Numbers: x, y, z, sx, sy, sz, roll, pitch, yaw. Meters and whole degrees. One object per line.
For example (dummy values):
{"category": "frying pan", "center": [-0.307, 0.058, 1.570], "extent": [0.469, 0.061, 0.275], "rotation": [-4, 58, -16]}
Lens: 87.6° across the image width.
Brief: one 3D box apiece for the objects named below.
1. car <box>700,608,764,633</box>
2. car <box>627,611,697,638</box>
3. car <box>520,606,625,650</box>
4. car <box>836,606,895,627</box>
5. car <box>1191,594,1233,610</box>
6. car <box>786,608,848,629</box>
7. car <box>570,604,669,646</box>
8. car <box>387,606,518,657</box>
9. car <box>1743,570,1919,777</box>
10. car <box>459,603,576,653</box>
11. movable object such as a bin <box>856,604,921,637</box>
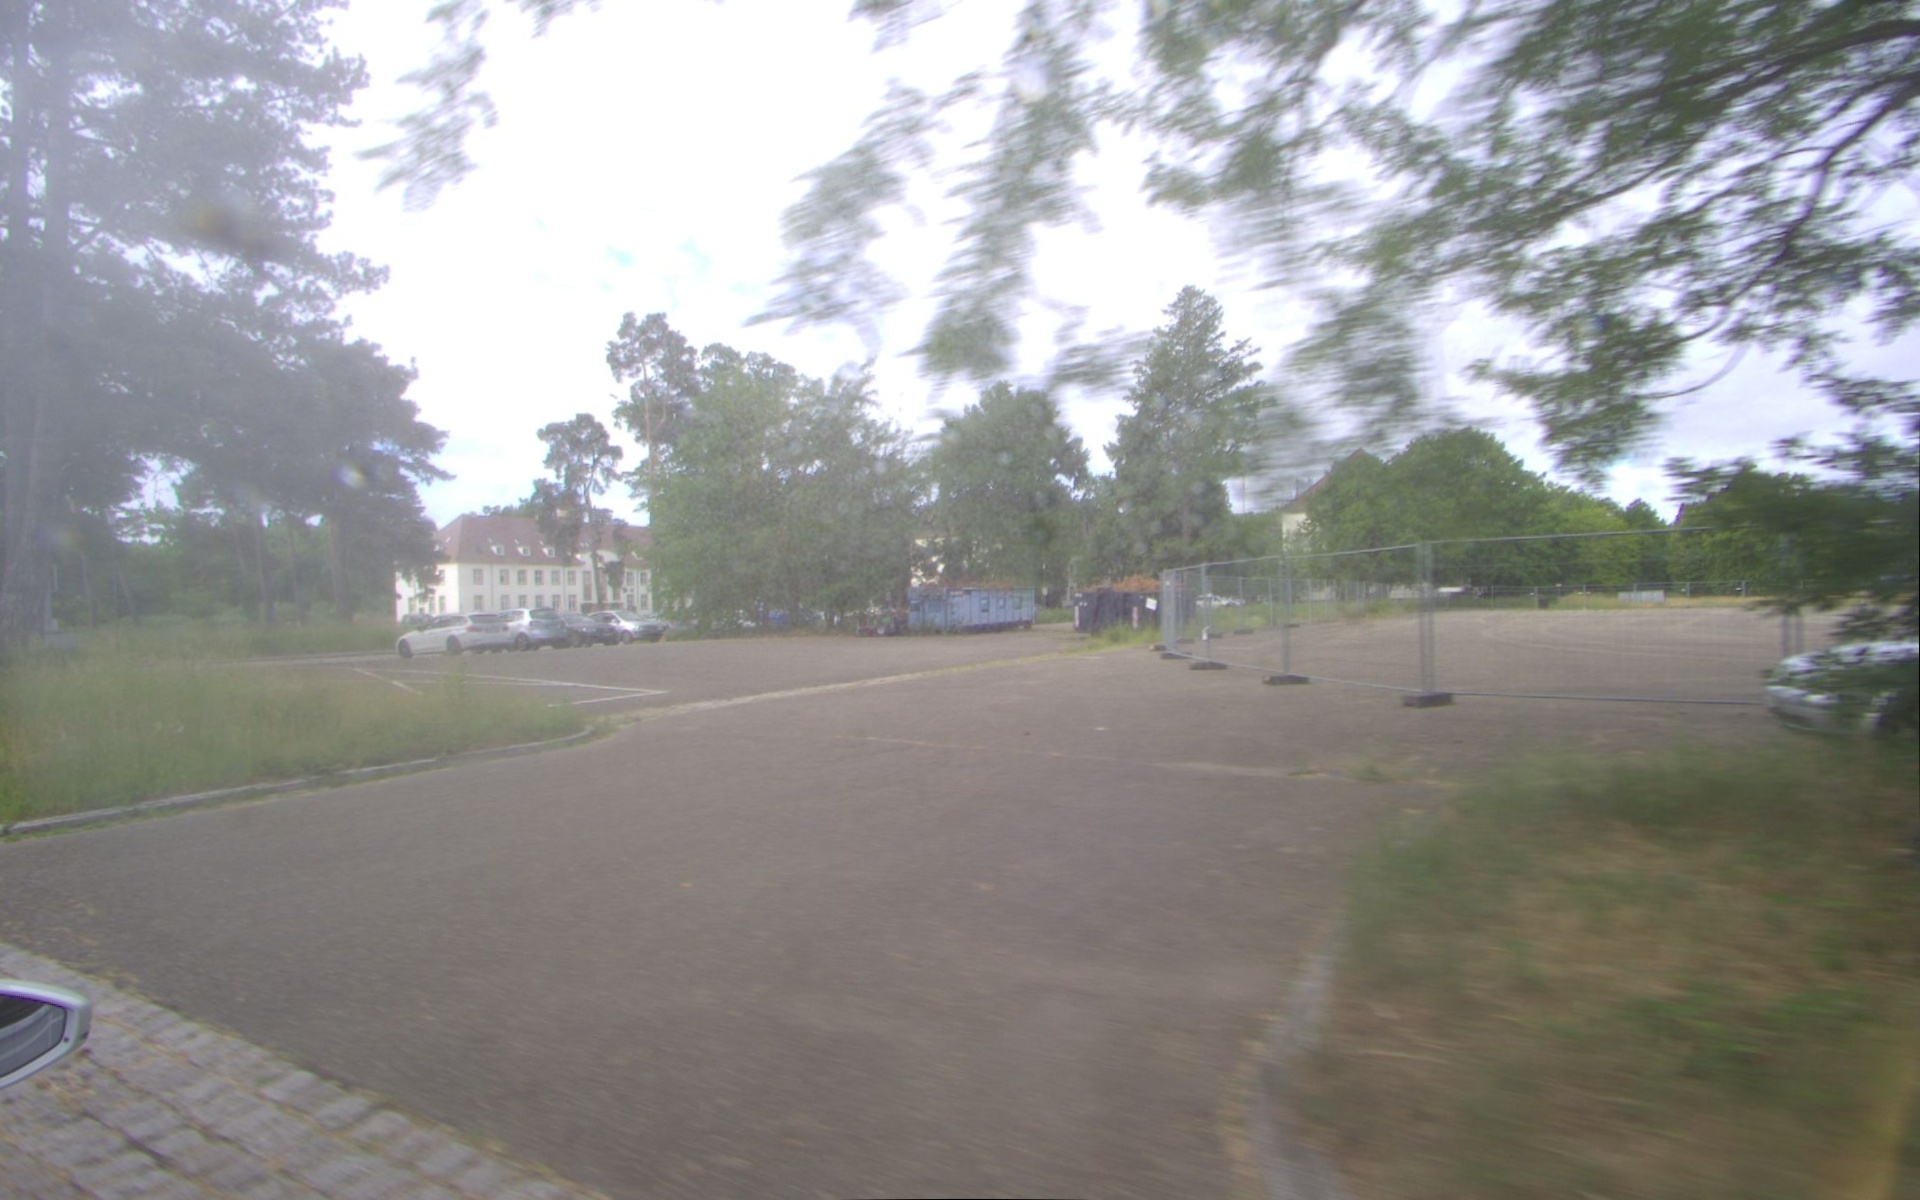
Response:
{"category": "car", "center": [-14.366, 1.282, 62.916], "extent": [4.189, 1.521, 1.610], "rotation": [-1, 0, 37]}
{"category": "car", "center": [-17.283, 1.394, 58.051], "extent": [4.189, 1.492, 1.727], "rotation": [-1, 0, 37]}
{"category": "car", "center": [-15.434, 1.125, 39.816], "extent": [4.186, 1.504, 1.697], "rotation": [-4, -1, 33]}
{"category": "car", "center": [-7.065, 1.215, 74.932], "extent": [4.182, 1.541, 1.730], "rotation": [-1, 0, 32]}
{"category": "car", "center": [34.240, 0.316, 136.111], "extent": [5.222, 1.980, 2.080], "rotation": [-2, -2, 32]}
{"category": "car", "center": [-9.921, 1.294, 69.452], "extent": [4.184, 1.409, 1.730], "rotation": [-1, 0, 33]}
{"category": "car", "center": [-14.441, 1.056, 42.419], "extent": [4.186, 1.504, 1.697], "rotation": [-4, -1, 33]}
{"category": "car", "center": [-17.790, 1.124, 35.078], "extent": [4.541, 1.505, 1.847], "rotation": [-4, -3, 29]}
{"category": "car", "center": [8.508, 0.489, 7.094], "extent": [4.421, 1.470, 1.672], "rotation": [-1, 0, 29]}
{"category": "car", "center": [-16.532, 1.048, 37.405], "extent": [4.181, 1.626, 1.780], "rotation": [-4, -1, 29]}
{"category": "movable object such as a bin", "center": [-2.614, 0.751, 36.508], "extent": [2.176, 1.149, 0.960], "rotation": [-1, -1, 23]}
